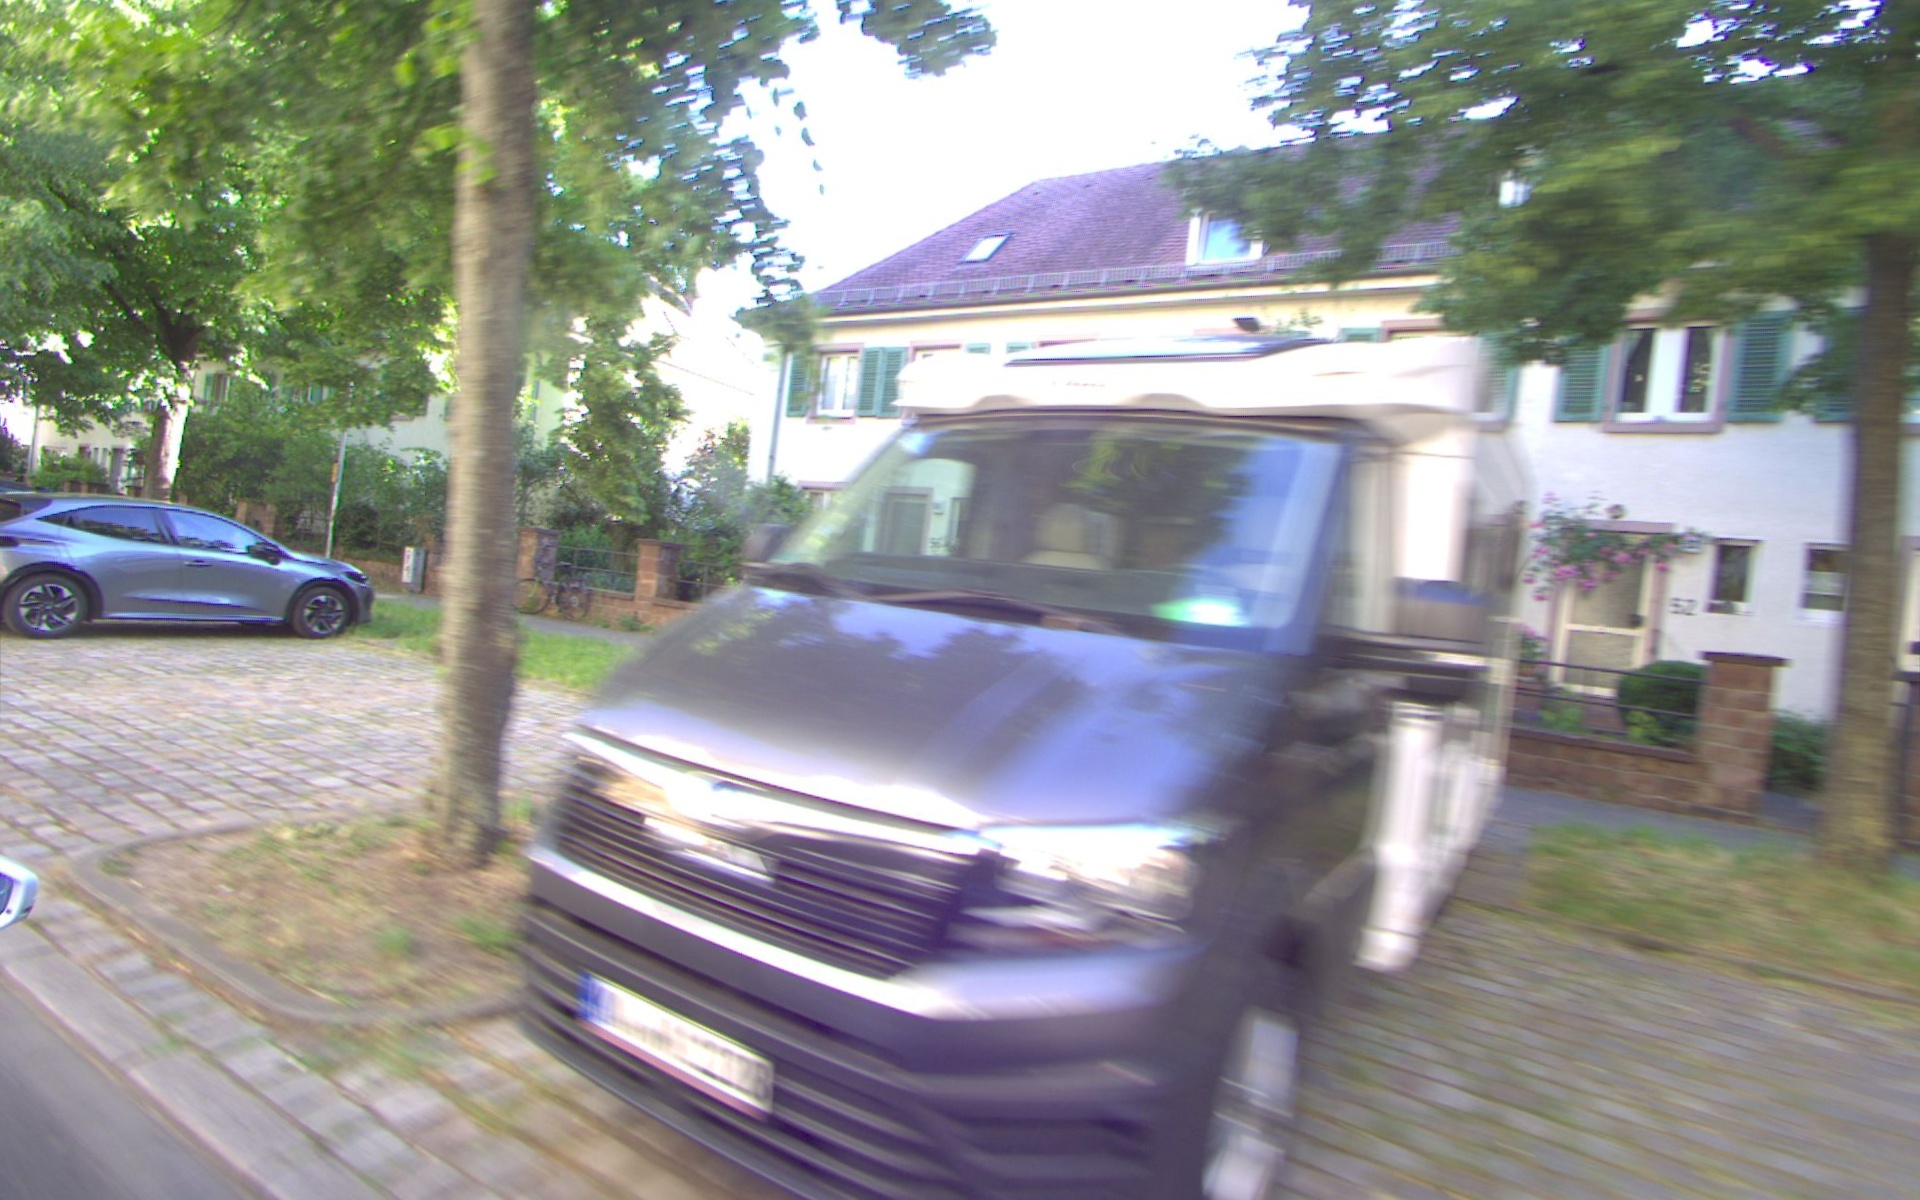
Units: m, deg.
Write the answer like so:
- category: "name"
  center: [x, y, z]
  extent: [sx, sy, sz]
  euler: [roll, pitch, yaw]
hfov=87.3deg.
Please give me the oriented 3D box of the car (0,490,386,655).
- category: "car"
  center: [-8.886, -0.255, 11.154]
  extent: [1.661, 1.472, 4.040]
  euler: [7, 0, 28]

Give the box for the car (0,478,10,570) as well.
- category: "car"
  center: [-18.835, -1.528, 16.955]
  extent: [1.664, 1.619, 3.775]
  euler: [5, -1, 33]

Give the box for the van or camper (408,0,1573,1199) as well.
- category: "van or camper"
  center: [1.446, 0.154, 5.186]
  extent: [2.424, 2.683, 7.142]
  euler: [7, 3, 33]

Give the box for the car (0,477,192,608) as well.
- category: "car"
  center: [-13.465, -0.876, 13.852]
  extent: [1.664, 1.619, 4.225]
  euler: [5, -1, 33]

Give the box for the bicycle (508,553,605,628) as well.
- category: "bicycle"
  center: [-7.109, -0.173, 17.691]
  extent: [1.790, 1.143, 0.564]
  euler: [6, 1, 32]
